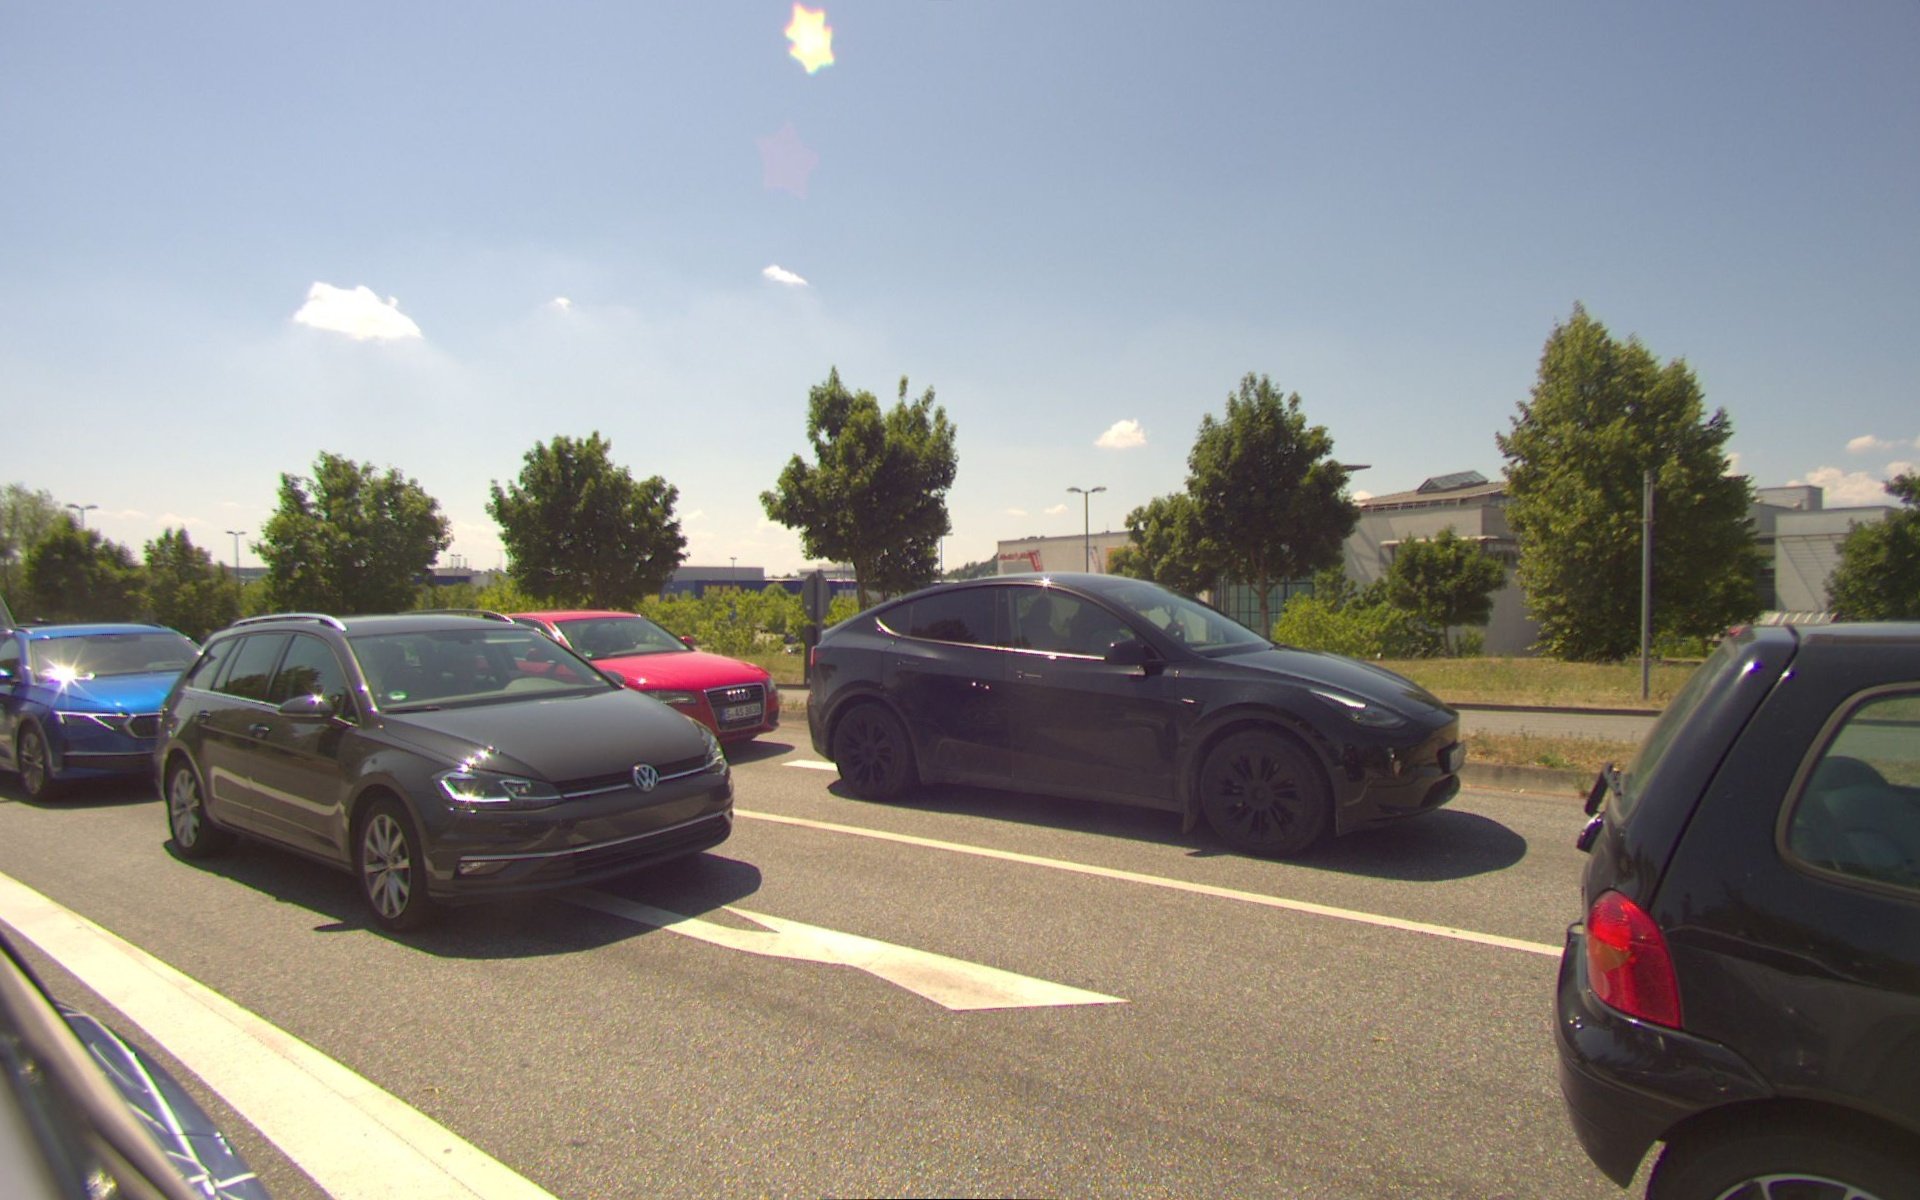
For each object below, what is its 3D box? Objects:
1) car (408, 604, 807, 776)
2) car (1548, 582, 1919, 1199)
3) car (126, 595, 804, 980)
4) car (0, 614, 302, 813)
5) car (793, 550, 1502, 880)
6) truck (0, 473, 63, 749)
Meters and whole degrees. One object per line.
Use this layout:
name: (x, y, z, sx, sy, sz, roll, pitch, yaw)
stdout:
car: (-3.771, 0.785, 10.476, 4.440, 1.399, 1.646, -1, 1, 36)
car: (2.881, 0.669, 1.518, 3.295, 1.418, 1.604, -1, -1, 37)
car: (-3.132, 0.767, 5.985, 4.420, 1.493, 1.762, -1, 0, 36)
car: (-8.323, 0.951, 9.633, 4.474, 1.473, 1.695, -2, 0, 32)
car: (1.106, 0.583, 7.037, 4.496, 1.613, 1.859, -1, 0, 36)
truck: (-15.112, 0.287, 13.710, 7.176, 3.373, 2.390, -3, -1, 31)
